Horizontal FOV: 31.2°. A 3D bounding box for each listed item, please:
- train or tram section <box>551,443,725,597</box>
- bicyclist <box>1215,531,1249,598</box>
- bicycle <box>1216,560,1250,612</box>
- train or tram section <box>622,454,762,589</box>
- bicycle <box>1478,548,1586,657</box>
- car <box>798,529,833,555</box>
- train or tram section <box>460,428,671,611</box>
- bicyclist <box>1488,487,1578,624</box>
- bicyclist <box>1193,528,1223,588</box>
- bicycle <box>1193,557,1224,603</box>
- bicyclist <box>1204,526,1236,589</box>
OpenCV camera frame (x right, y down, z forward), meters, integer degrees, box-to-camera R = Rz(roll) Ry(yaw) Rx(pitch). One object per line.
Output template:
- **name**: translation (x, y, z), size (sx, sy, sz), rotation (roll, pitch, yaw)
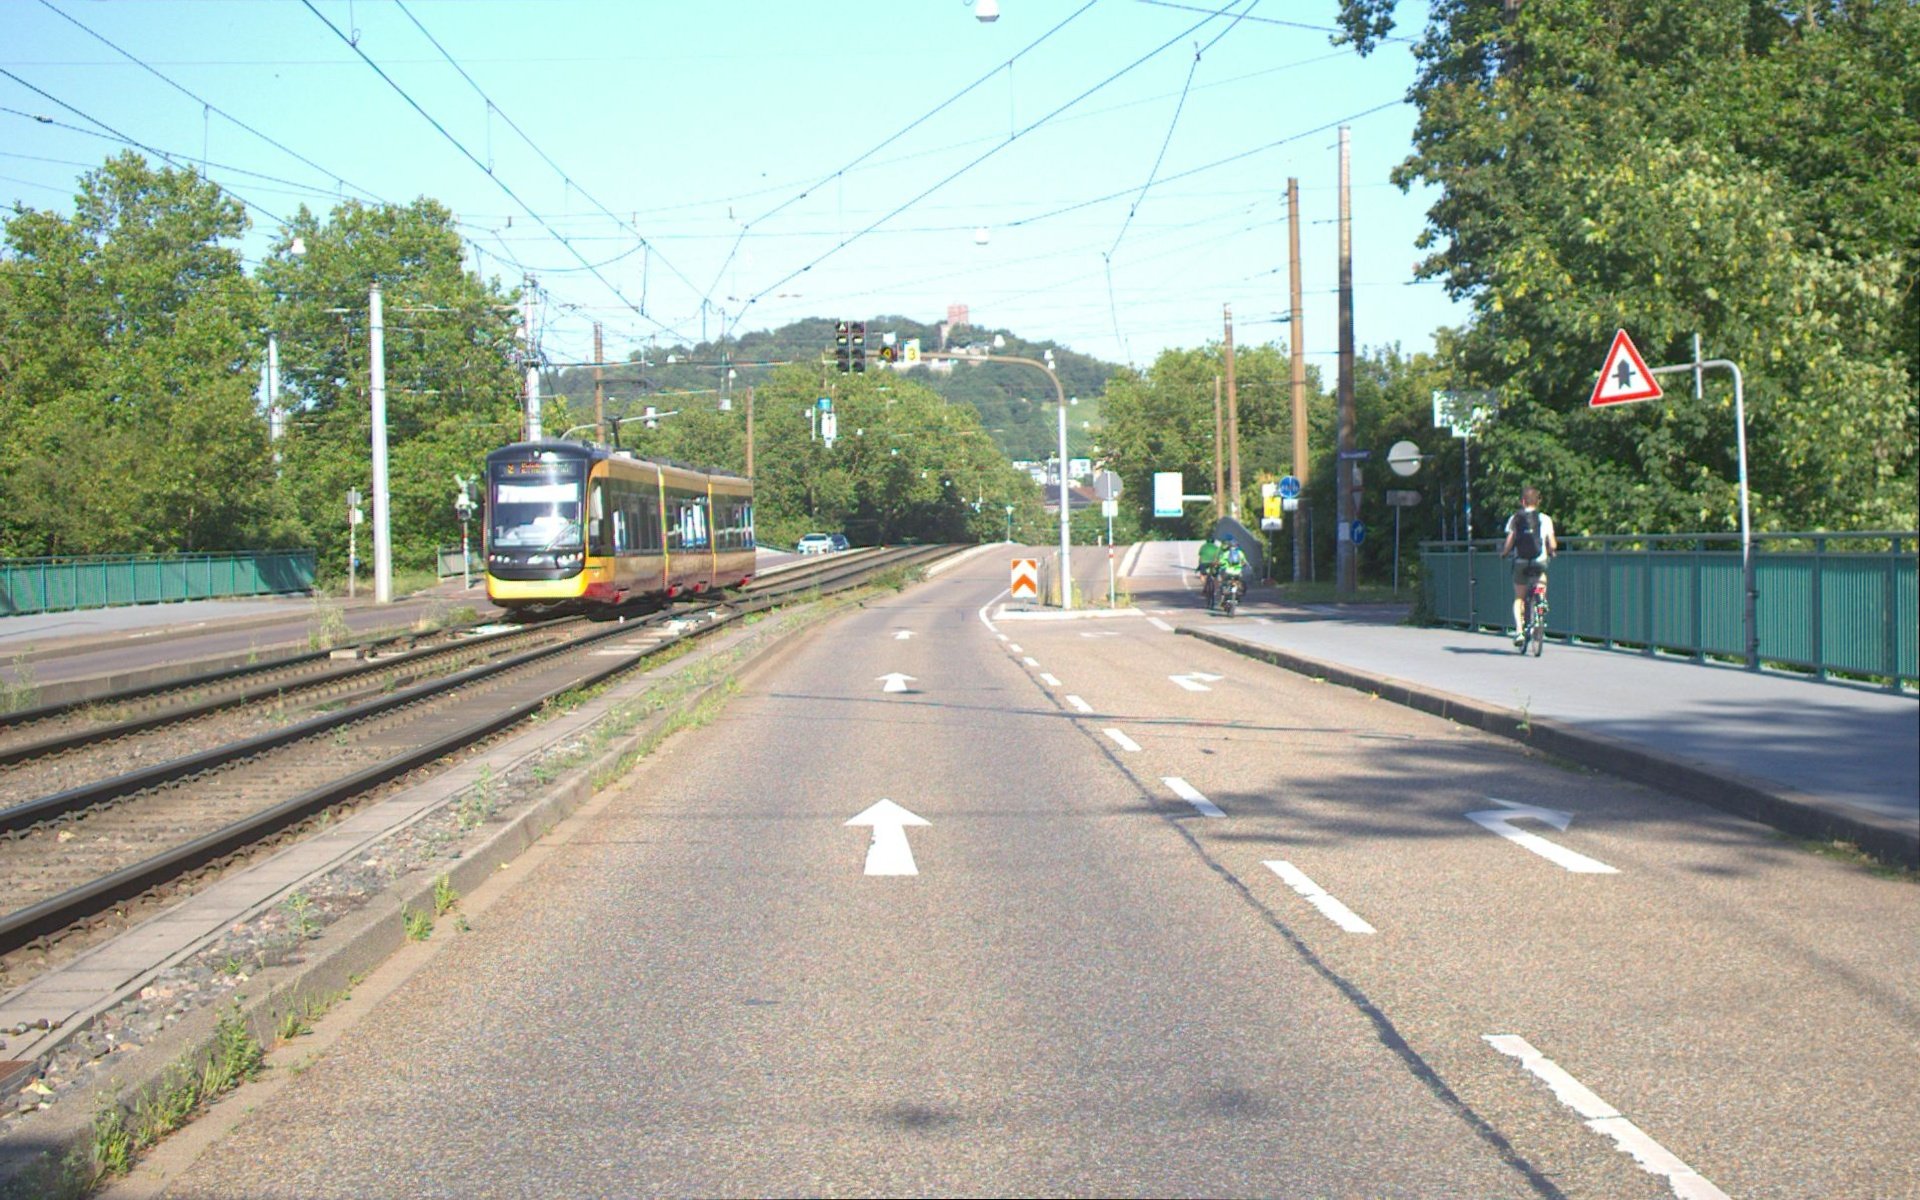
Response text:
- **train or tram section**: translation (-7.686, -1.921, 83.604), size (2.644, 3.464, 10.831), rotation (-1, 1, 3)
- **bicyclist**: translation (5.659, -0.744, 71.509), size (0.604, 1.374, 0.975), rotation (-1, 1, -1)
- **bicycle**: translation (5.673, -0.303, 71.483), size (0.515, 1.038, 1.975), rotation (-1, 1, -1)
- **train or tram section**: translation (-7.188, -2.127, 93.428), size (2.644, 3.460, 8.894), rotation (-1, 1, 3)
- **bicycle**: translation (6.442, 0.006, 38.854), size (0.727, 1.172, 2.695), rotation (-1, 1, -1)
- **car**: translation (-8.658, -3.484, 205.730), size (1.950, 1.481, 4.000), rotation (-1, 1, -1)
- **train or tram section**: translation (-8.184, -1.676, 72.746), size (2.644, 3.554, 10.831), rotation (-1, 1, 3)
- **bicyclist**: translation (6.438, -0.506, 38.668), size (0.824, 1.515, 0.975), rotation (-1, 1, -1)
- **bicyclist**: translation (5.739, -0.972, 79.474), size (0.604, 1.374, 0.975), rotation (-1, 1, -1)
- **bicycle**: translation (5.753, -0.461, 79.497), size (0.539, 1.038, 1.975), rotation (-1, 1, -1)
- **bicyclist**: translation (5.757, -0.936, 76.135), size (0.604, 1.374, 0.975), rotation (-1, 1, -1)
